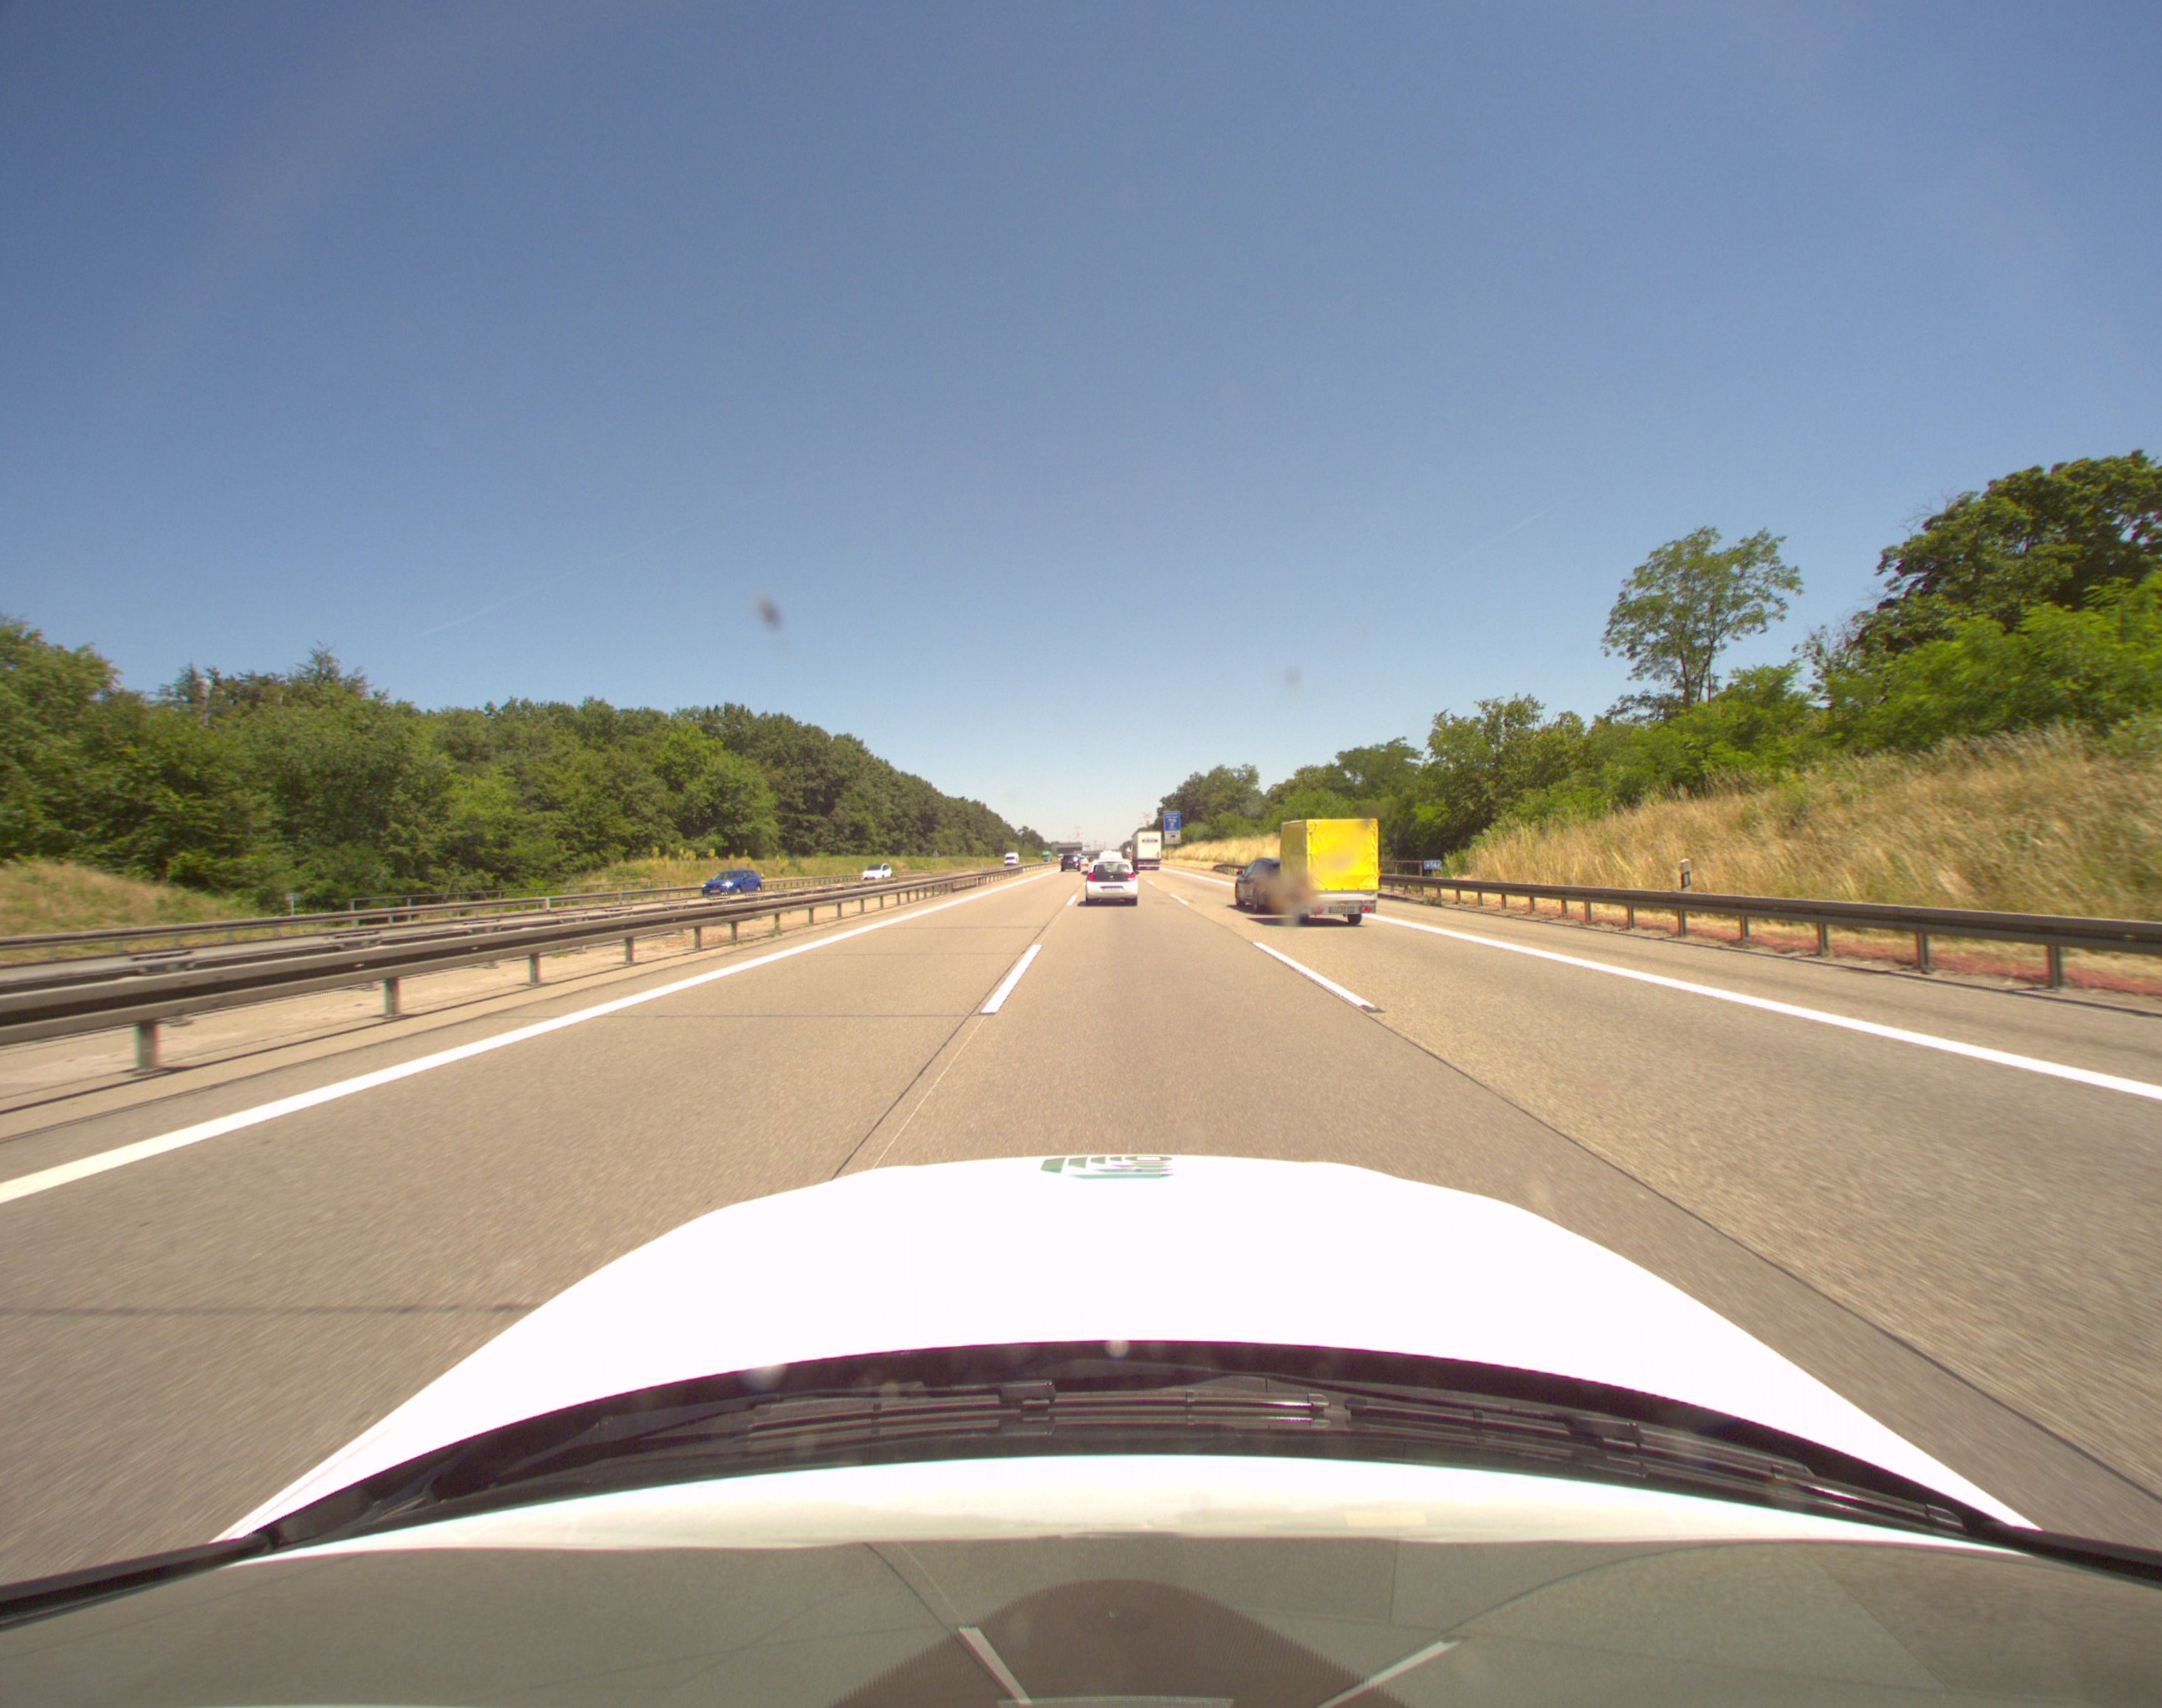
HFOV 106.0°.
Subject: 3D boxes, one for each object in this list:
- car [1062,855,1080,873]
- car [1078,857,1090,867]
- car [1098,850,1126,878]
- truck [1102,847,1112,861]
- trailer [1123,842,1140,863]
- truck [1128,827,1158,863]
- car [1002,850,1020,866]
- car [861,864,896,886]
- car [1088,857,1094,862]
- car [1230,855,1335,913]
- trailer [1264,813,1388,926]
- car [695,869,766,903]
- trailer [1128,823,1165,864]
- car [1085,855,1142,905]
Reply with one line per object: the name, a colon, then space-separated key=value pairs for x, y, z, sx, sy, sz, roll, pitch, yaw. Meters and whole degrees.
car: x=-0.959 y=0.997 z=81.988 sx=1.620 sy=1.755 sz=3.806 roll=-1 pitch=0 yaw=2
car: x=0.446 y=1.151 z=122.762 sx=1.663 sy=1.401 sz=3.713 roll=-2 pitch=0 yaw=0
car: x=2.158 y=0.692 z=57.257 sx=1.808 sy=1.827 sz=5.111 roll=-1 pitch=-1 yaw=1
truck: x=5.694 y=-0.010 z=179.625 sx=2.053 sy=2.914 sz=7.004 roll=-1 pitch=-1 yaw=1
trailer: x=9.398 y=-0.209 z=153.250 sx=2.673 sy=3.837 sz=12.012 roll=0 pitch=-1 yaw=1
truck: x=7.290 y=-1.019 z=96.975 sx=3.274 sy=4.219 sz=6.008 roll=0 pitch=-1 yaw=1
car: x=-12.479 y=0.734 z=145.767 sx=2.157 sy=2.624 sz=7.546 roll=-4 pitch=0 yaw=2
car: x=-18.325 y=1.876 z=73.964 sx=1.696 sy=1.661 sz=5.118 roll=-4 pitch=0 yaw=1
car: x=2.599 y=1.473 z=209.093 sx=1.601 sy=1.300 sz=3.675 roll=-1 pitch=0 yaw=2
car: x=5.490 y=0.765 z=22.813 sx=1.815 sy=1.456 sz=4.788 roll=-1 pitch=0 yaw=1
trailer: x=5.413 y=0.322 z=18.484 sx=1.697 sy=2.289 sz=3.840 roll=-1 pitch=0 yaw=1
car: x=-18.964 y=1.699 z=44.348 sx=1.696 sy=1.545 sz=4.537 roll=-4 pitch=0 yaw=1
trailer: x=7.116 y=-1.037 z=90.156 sx=3.274 sy=4.219 sz=13.567 roll=0 pitch=-1 yaw=1
car: x=1.035 y=0.785 z=26.490 sx=1.702 sy=1.495 sz=4.025 roll=-1 pitch=0 yaw=2
